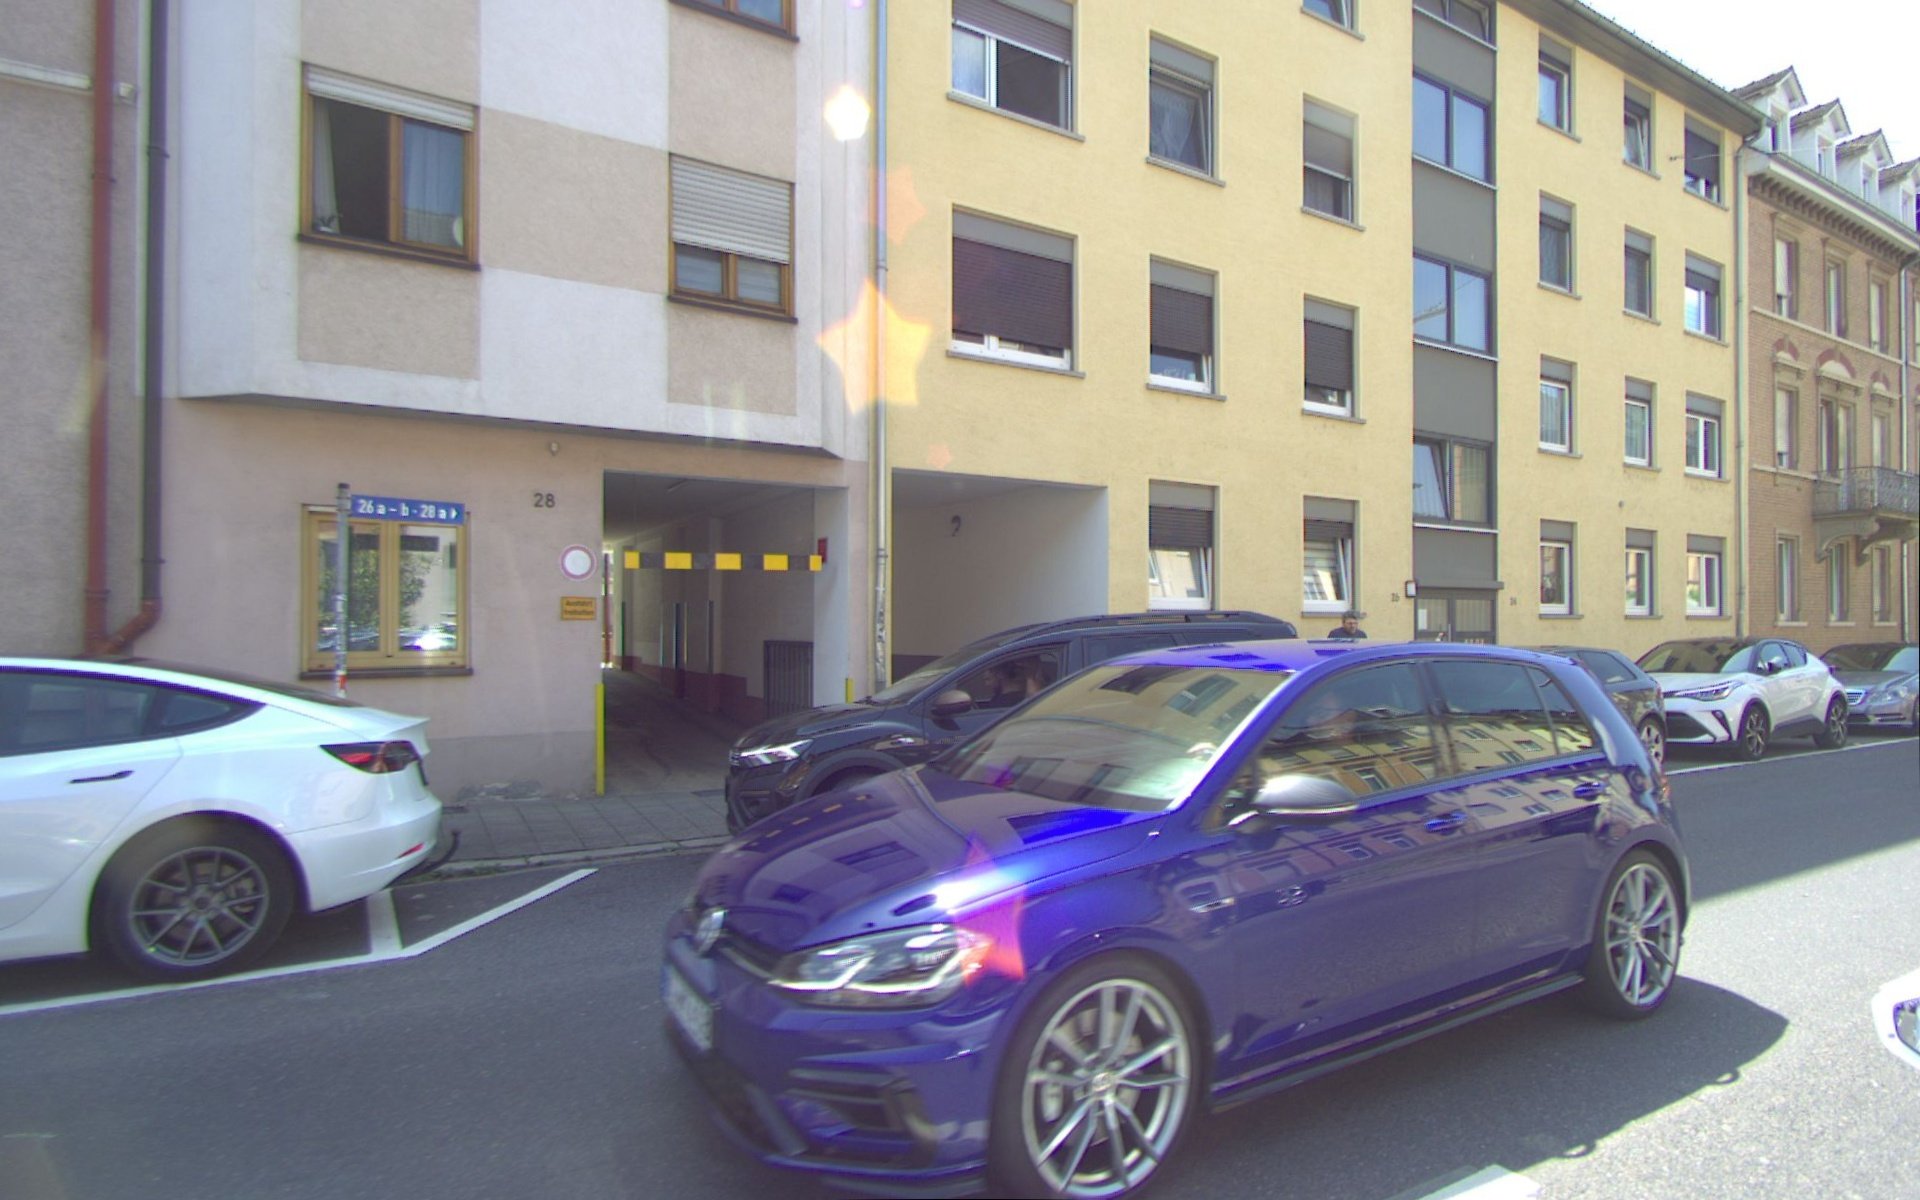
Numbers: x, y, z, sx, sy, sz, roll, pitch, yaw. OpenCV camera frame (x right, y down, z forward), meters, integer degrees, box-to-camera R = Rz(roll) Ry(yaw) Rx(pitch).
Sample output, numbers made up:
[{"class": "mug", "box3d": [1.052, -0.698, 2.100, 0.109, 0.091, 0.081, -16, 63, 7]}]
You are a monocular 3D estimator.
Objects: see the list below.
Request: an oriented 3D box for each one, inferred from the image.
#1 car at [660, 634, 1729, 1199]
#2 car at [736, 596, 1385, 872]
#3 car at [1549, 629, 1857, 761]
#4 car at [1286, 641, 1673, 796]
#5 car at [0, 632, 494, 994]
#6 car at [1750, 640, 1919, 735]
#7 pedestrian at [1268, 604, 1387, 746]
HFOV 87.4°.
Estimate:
[{"class": "car", "box3d": [1.052, 0.844, 3.929, 3.955, 1.407, 1.807, 1, -2, -31]}, {"class": "car", "box3d": [0.621, 0.868, 7.551, 4.480, 1.659, 1.906, 0, -3, -14]}, {"class": "car", "box3d": [10.160, 1.205, 13.677, 4.254, 1.530, 1.895, 1, -4, -32]}, {"class": "car", "box3d": [5.692, 1.164, 10.937, 4.014, 1.397, 1.896, 1, -4, -31]}, {"class": "car", "box3d": [-4.691, 0.904, 4.594, 4.504, 1.441, 1.832, 2, -5, -30]}, {"class": "car", "box3d": [15.544, 1.402, 16.990, 4.701, 1.419, 1.895, 1, -4, -31]}, {"class": "pedestrian", "box3d": [4.850, 0.960, 13.285, 1.141, 1.773, 0.962, 1, -2, -28]}]
